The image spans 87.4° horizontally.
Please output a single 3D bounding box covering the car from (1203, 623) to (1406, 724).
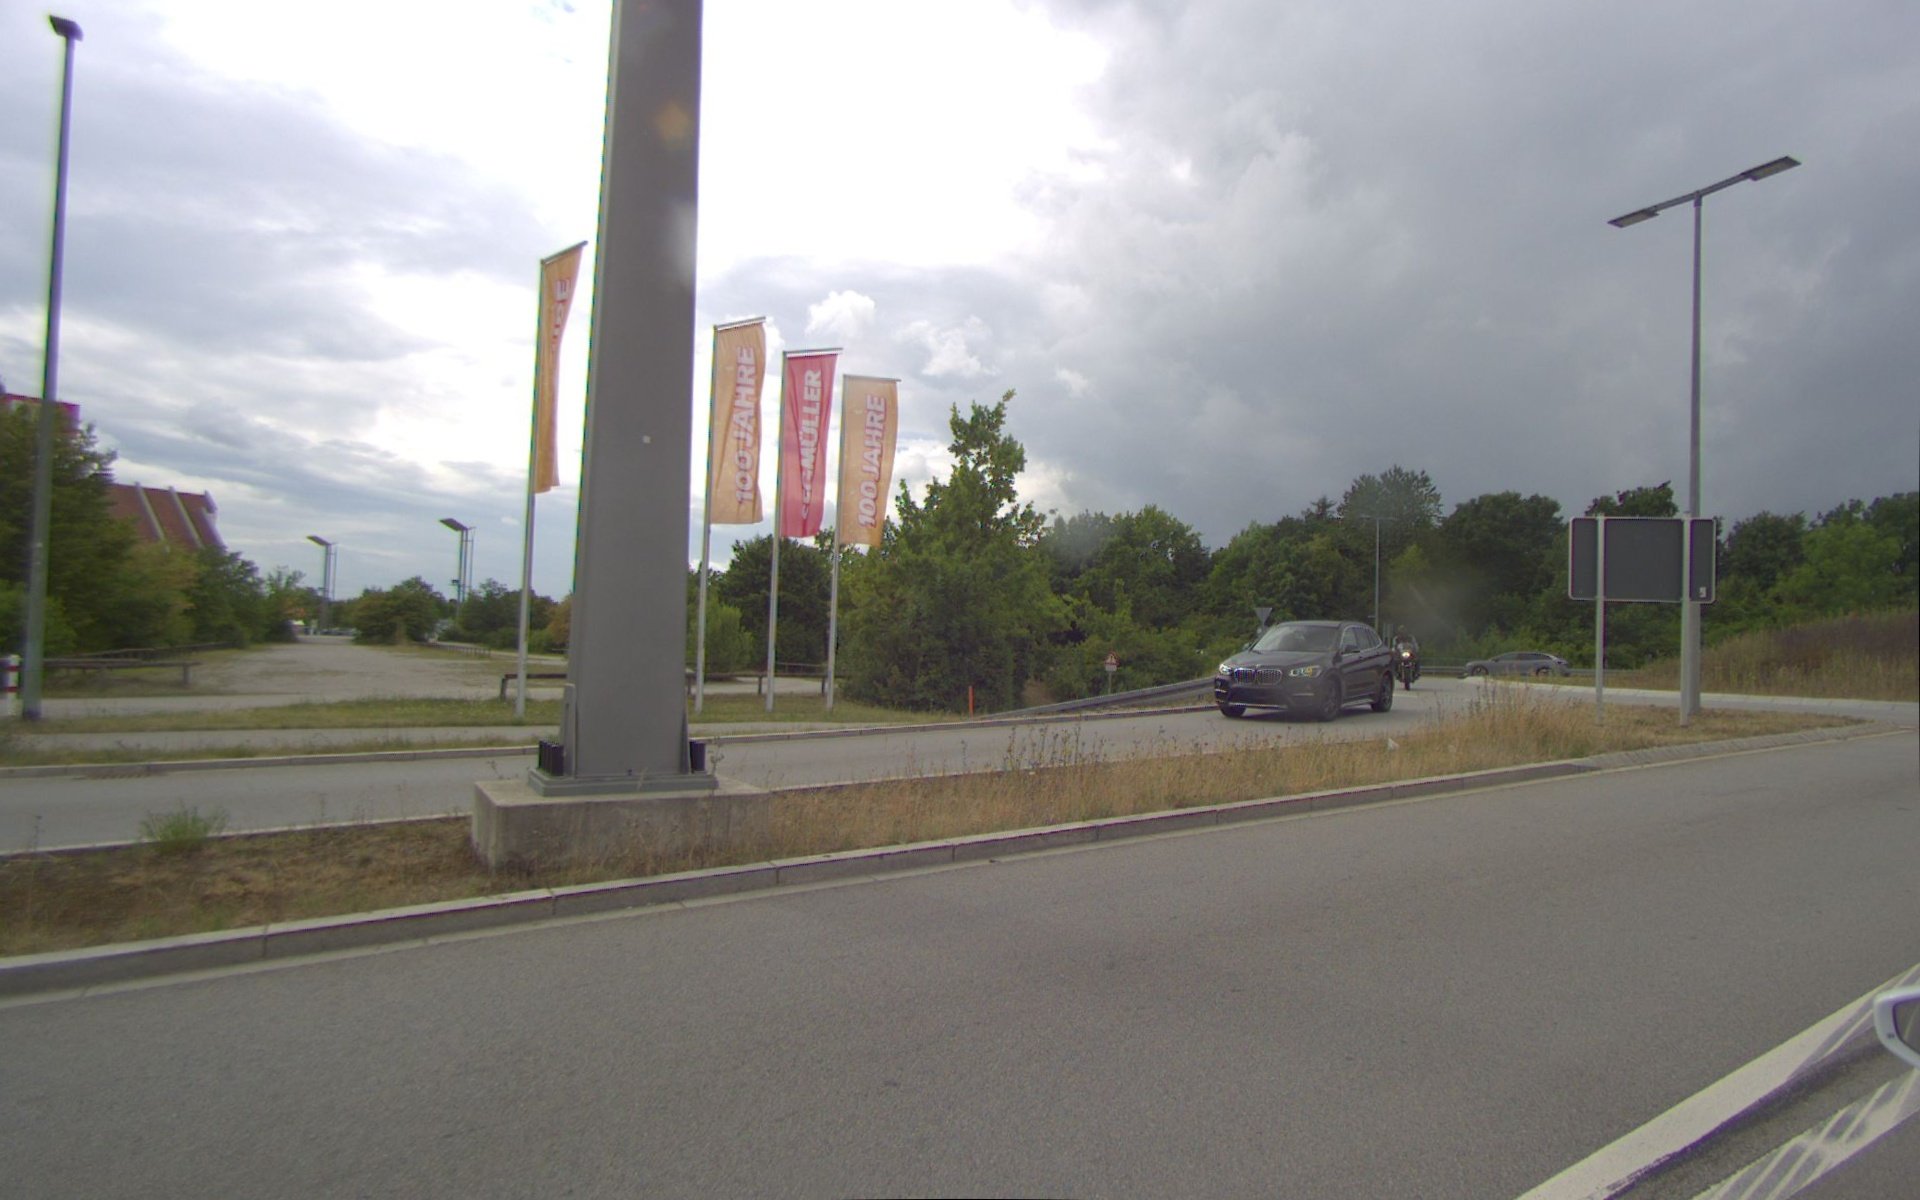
[{"bbox_3d":[5.927,1.194,16.978,1.864,1.486,4.262,-2,-4,40],"label":"car"}]

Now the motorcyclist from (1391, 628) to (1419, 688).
[{"bbox_3d":[12.022,1.561,27.169,0.662,1.597,0.846,-1,-2,23],"label":"motorcyclist"}]

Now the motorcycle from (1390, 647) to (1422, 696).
[{"bbox_3d":[12.071,1.913,27.220,0.690,1.246,2.249,-1,-2,21],"label":"motorcycle"}]

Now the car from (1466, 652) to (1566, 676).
[{"bbox_3d":[28.588,3.280,51.700,4.400,1.190,1.629,-2,-3,33],"label":"car"}]
